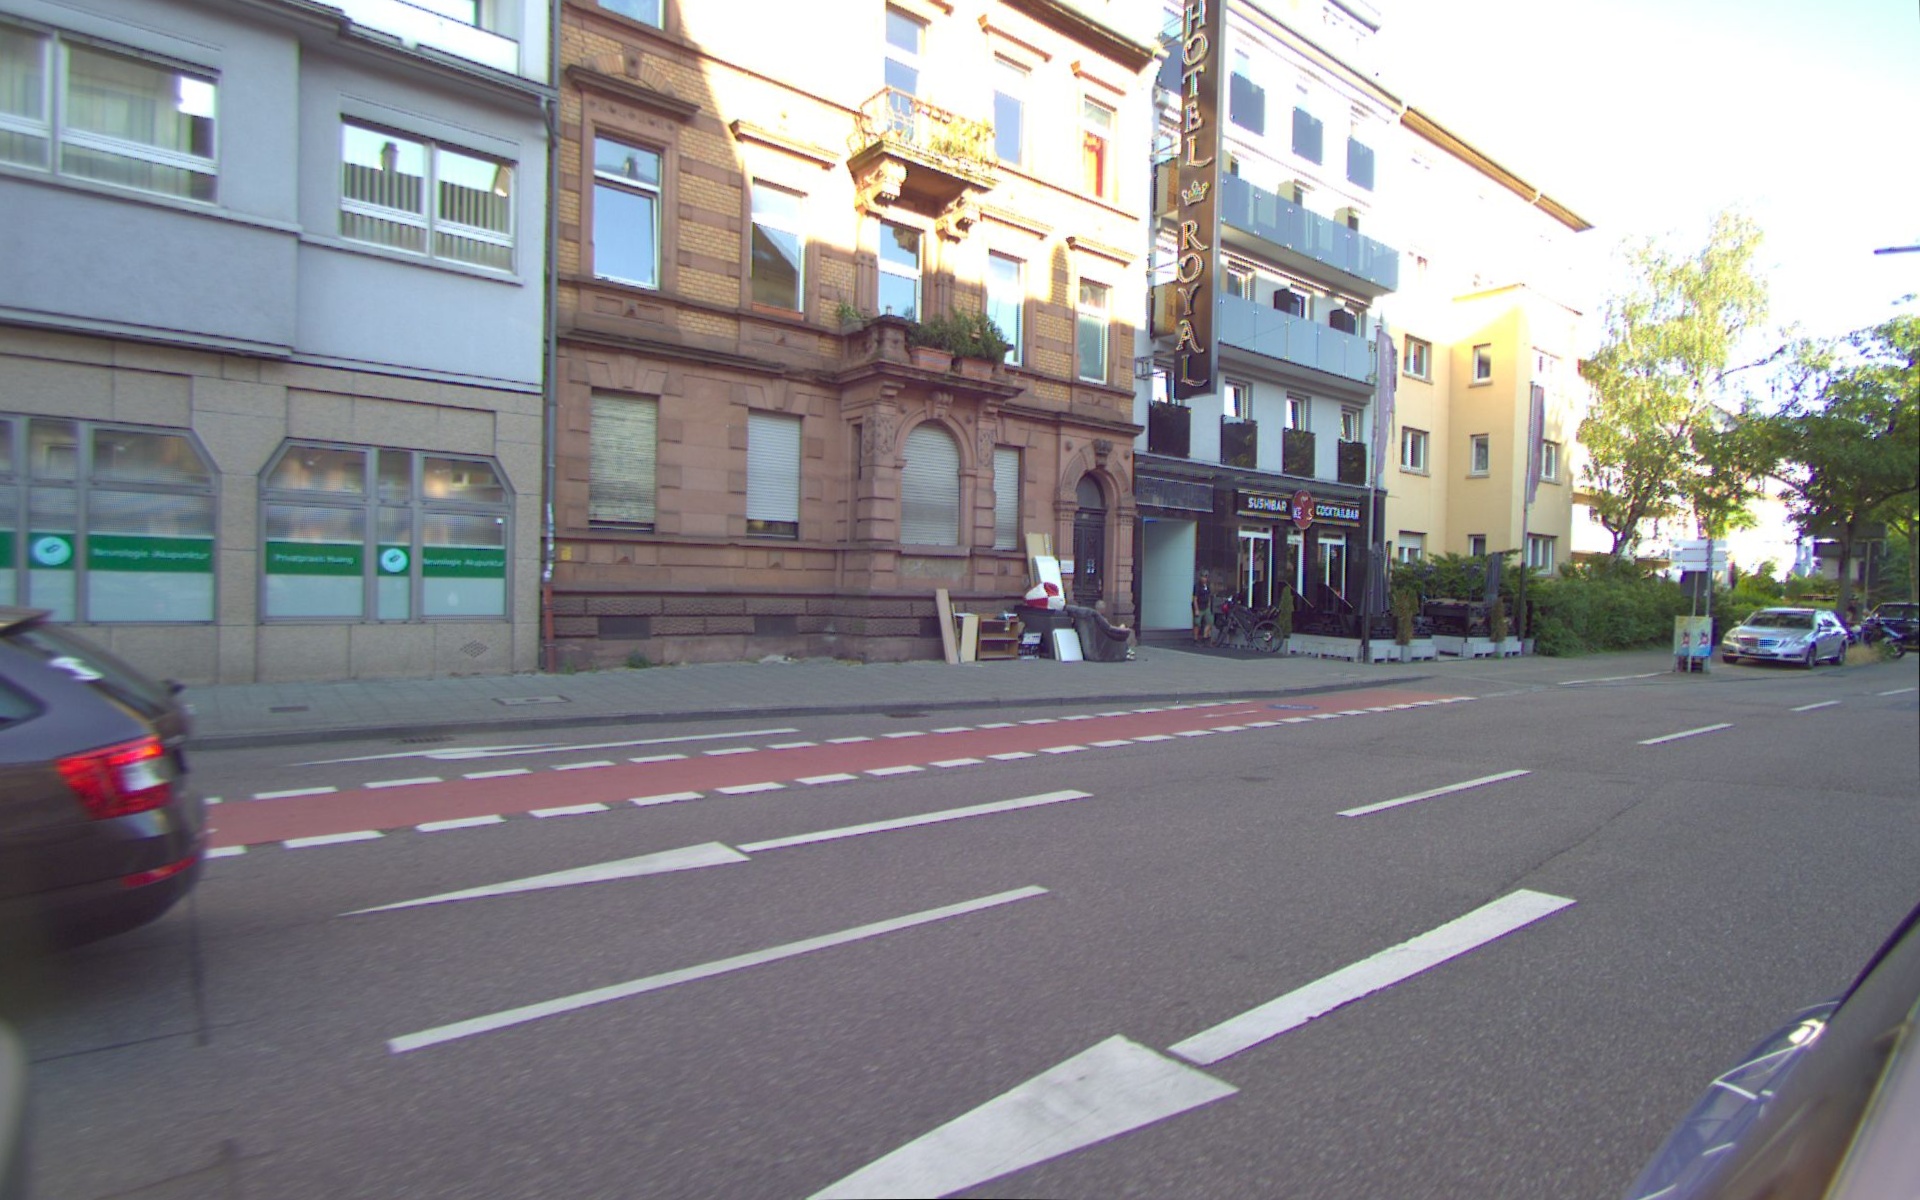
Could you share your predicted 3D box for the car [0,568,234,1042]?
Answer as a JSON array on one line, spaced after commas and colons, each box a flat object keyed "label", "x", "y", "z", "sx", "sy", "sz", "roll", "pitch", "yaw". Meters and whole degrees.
[{"label": "car", "x": -4.665, "y": 0.617, "z": 2.927, "sx": 4.083, "sy": 1.475, "sz": 1.712, "roll": 1, "pitch": 1, "yaw": -39}]

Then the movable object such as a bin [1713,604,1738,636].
[{"label": "movable object such as a bin", "x": 26.738, "y": 0.690, "z": 35.342, "sx": 0.536, "sy": 1.072, "sz": 0.496, "roll": 1, "pitch": 1, "yaw": -26}]

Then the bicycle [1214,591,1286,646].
[{"label": "bicycle", "x": 6.549, "y": 0.407, "z": 22.875, "sx": 1.417, "sy": 1.124, "sz": 0.483, "roll": 5, "pitch": 2, "yaw": 35}]

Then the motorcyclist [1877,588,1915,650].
[{"label": "motorcyclist", "x": 28.188, "y": 0.555, "z": 30.484, "sx": 0.735, "sy": 1.800, "sz": 1.073, "roll": 1, "pitch": 1, "yaw": 40}]

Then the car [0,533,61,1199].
[{"label": "car", "x": -3.172, "y": 0.652, "z": 0.294, "sx": 4.231, "sy": 1.529, "sz": 1.711, "roll": 1, "pitch": 0, "yaw": -39}]

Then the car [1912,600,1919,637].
[{"label": "car", "x": 41.025, "y": 0.775, "z": 42.039, "sx": 4.354, "sy": 1.490, "sz": 1.720, "roll": 0, "pitch": 2, "yaw": -41}]

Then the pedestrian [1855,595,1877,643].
[{"label": "pedestrian", "x": 27.788, "y": 0.581, "z": 31.041, "sx": 0.437, "sy": 1.448, "sz": 0.694, "roll": 1, "pitch": 0, "yaw": 40}]

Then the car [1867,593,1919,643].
[{"label": "car", "x": 34.416, "y": 0.616, "z": 36.434, "sx": 4.710, "sy": 1.675, "sz": 1.952, "roll": 0, "pitch": 1, "yaw": -40}]

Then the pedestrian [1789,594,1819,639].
[{"label": "pedestrian", "x": 31.512, "y": 0.593, "z": 37.790, "sx": 0.569, "sy": 1.636, "sz": 0.747, "roll": 1, "pitch": 1, "yaw": -40}]

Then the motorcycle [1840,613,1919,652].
[{"label": "motorcycle", "x": 28.152, "y": 0.972, "z": 30.893, "sx": 1.923, "sy": 1.084, "sz": 0.808, "roll": 2, "pitch": 1, "yaw": 40}]

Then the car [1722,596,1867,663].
[{"label": "car", "x": 22.055, "y": 0.713, "z": 26.693, "sx": 4.745, "sy": 1.531, "sz": 1.862, "roll": 0, "pitch": 3, "yaw": -37}]

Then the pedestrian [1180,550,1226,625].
[{"label": "pedestrian", "x": 5.506, "y": -0.277, "z": 22.918, "sx": 0.680, "sy": 1.664, "sz": 0.708, "roll": 1, "pitch": 1, "yaw": -39}]

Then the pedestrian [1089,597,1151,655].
[{"label": "pedestrian", "x": 3.035, "y": 0.479, "z": 19.229, "sx": 0.927, "sy": 1.056, "sz": 0.693, "roll": 1, "pitch": 1, "yaw": -36}]
